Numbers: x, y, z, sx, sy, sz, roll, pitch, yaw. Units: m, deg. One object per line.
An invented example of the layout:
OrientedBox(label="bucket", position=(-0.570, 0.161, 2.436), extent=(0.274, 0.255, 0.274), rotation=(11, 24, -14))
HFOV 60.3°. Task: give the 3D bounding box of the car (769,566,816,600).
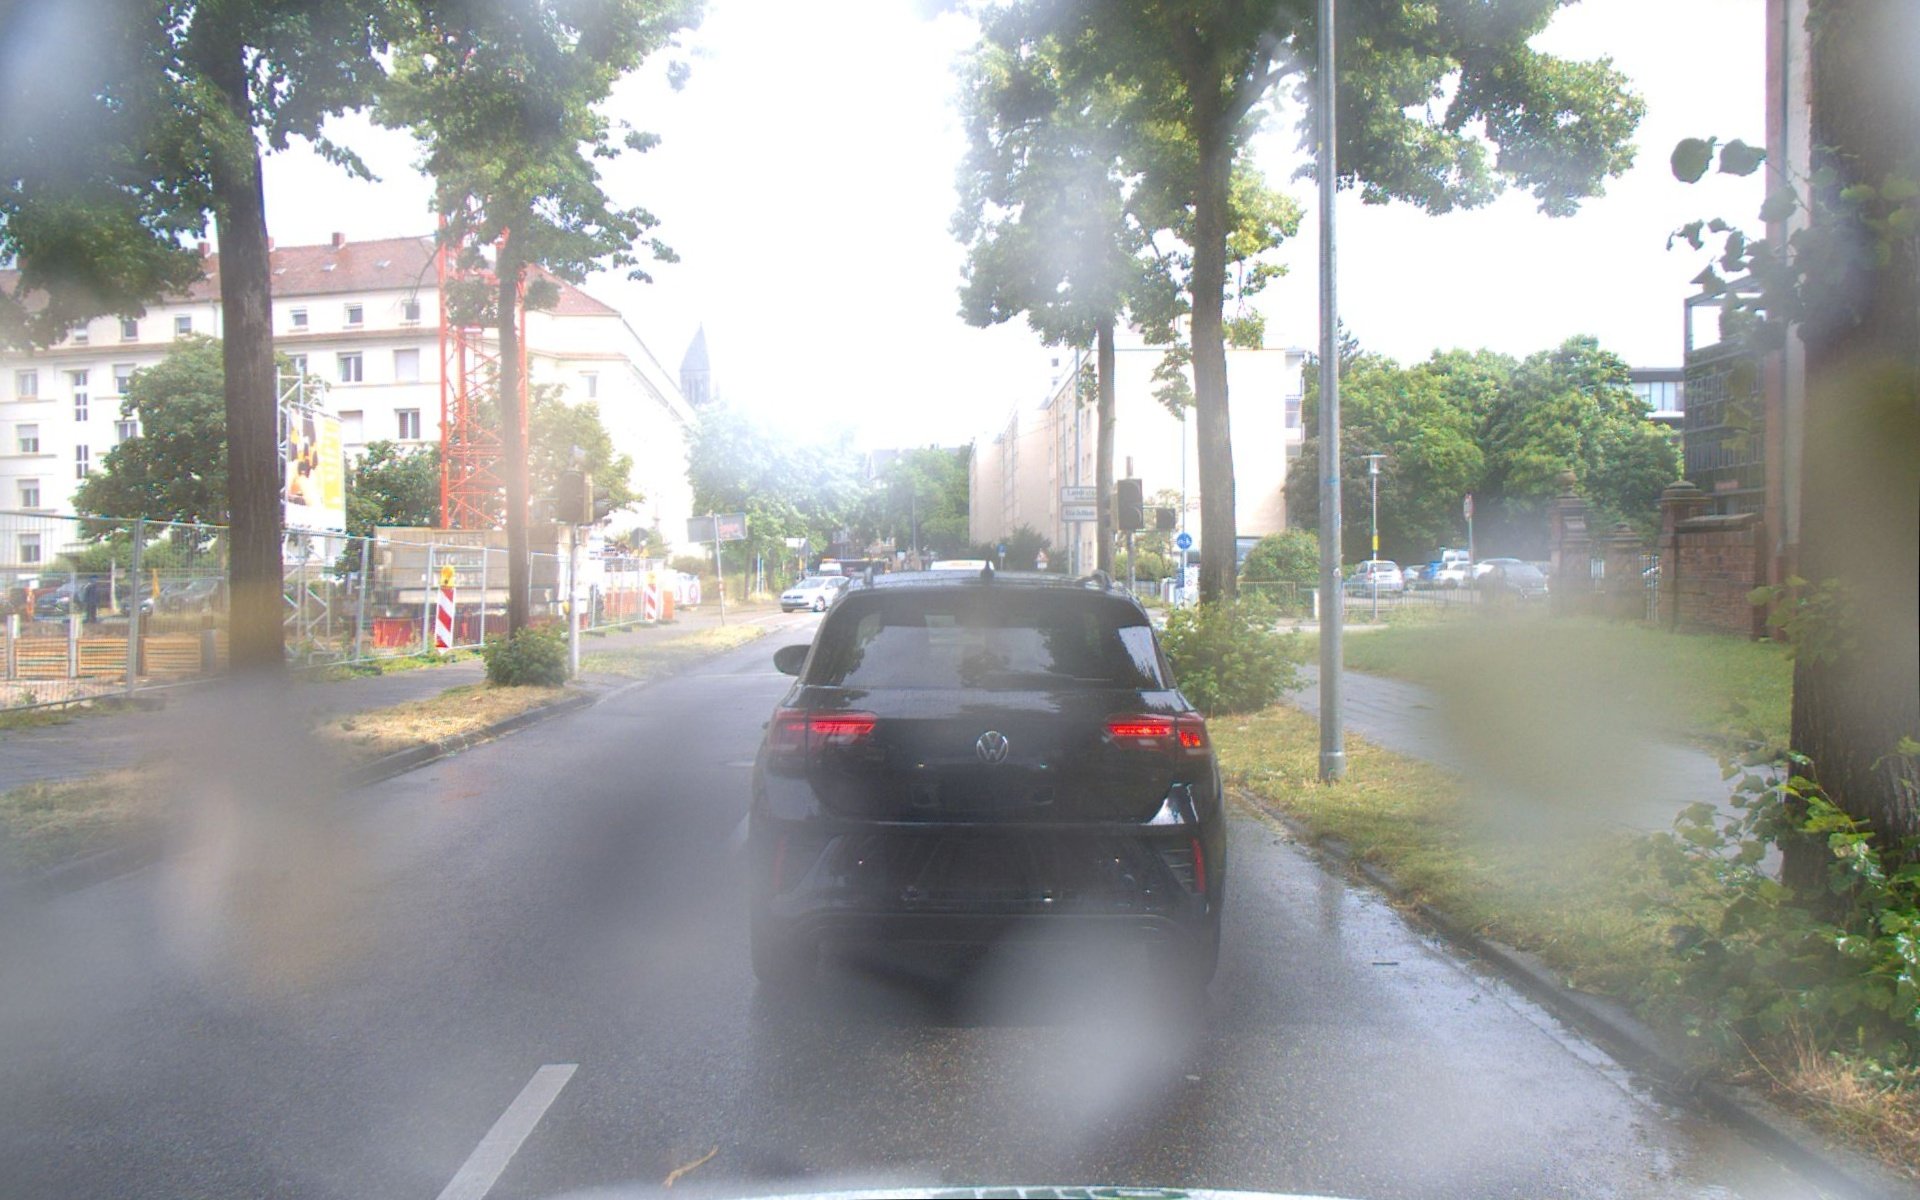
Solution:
OrientedBox(label="car", position=(-8.271, -0.848, 82.092), extent=(1.557, 1.538, 3.734), rotation=(-3, 1, 5))

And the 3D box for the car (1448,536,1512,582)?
OrientedBox(label="car", position=(25.185, -1.961, 80.207), extent=(1.952, 2.048, 4.002), rotation=(-3, 1, 3))

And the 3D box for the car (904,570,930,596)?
OrientedBox(label="car", position=(-2.755, -1.110, 105.556), extent=(1.559, 1.538, 3.730), rotation=(-4, 1, -2))

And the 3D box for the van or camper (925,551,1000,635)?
OrientedBox(label="van or camper", position=(0.092, -0.201, 41.527), extent=(1.782, 1.981, 4.195), rotation=(0, 1, 1))

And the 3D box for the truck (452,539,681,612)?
OrientedBox(label="truck", position=(-15.019, -0.983, 63.314), extent=(8.038, 2.703, 2.817), rotation=(0, 2, 10))

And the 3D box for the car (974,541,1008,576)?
OrientedBox(label="car", position=(1.903, -2.541, 101.973), extent=(1.953, 2.049, 3.999), rotation=(1, 0, -1))

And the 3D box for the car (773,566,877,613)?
OrientedBox(label="car", position=(-5.571, -0.436, 68.480), extent=(3.876, 1.679, 1.745), rotation=(-4, 1, -26))

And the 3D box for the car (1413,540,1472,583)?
OrientedBox(label="car", position=(24.937, -1.991, 85.581), extent=(1.952, 2.048, 4.002), rotation=(-3, 1, 3))

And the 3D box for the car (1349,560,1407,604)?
OrientedBox(label="car", position=(17.634, -0.775, 69.905), extent=(1.706, 1.713, 3.873), rotation=(-3, 1, 5))

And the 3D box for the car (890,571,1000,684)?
OrientedBox(label="car", position=(-0.205, 0.438, 28.814), extent=(1.645, 1.738, 3.911), rotation=(-3, 0, 2))

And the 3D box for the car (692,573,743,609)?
OrientedBox(label="car", position=(-11.664, -0.447, 79.705), extent=(1.557, 1.538, 3.734), rotation=(-3, 1, 5))

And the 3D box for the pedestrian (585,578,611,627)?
OrientedBox(label="pedestrian", position=(-11.288, 0.062, 51.548), extent=(0.652, 1.511, 0.667), rotation=(-1, 1, -25))

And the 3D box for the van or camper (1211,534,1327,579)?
OrientedBox(label="van or camper", position=(13.782, -1.941, 74.013), extent=(4.775, 1.959, 2.131), rotation=(0, 1, 0))

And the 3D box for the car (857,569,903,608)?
OrientedBox(label="car", position=(-3.884, -0.547, 79.497), extent=(1.756, 1.713, 4.478), rotation=(-4, 1, -8))

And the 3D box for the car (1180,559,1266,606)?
OrientedBox(label="car", position=(10.840, -0.720, 68.318), extent=(3.335, 1.812, 1.761), rotation=(-2, 1, 6))

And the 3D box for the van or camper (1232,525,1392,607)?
OrientedBox(label="van or camper", position=(12.007, -1.164, 56.631), extent=(4.931, 2.641, 2.167), rotation=(-1, 1, -2))

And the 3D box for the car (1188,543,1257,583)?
OrientedBox(label="car", position=(13.299, -1.877, 83.801), extent=(3.335, 1.812, 1.761), rotation=(-3, 0, 8))

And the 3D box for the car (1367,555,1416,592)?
OrientedBox(label="car", position=(23.796, -1.460, 91.360), extent=(1.828, 1.889, 3.811), rotation=(-3, 1, 3))

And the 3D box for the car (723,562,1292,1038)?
OrientedBox(label="car", position=(0.139, 0.620, 7.401), extent=(1.856, 1.549, 4.000), rotation=(0, 1, -1))
